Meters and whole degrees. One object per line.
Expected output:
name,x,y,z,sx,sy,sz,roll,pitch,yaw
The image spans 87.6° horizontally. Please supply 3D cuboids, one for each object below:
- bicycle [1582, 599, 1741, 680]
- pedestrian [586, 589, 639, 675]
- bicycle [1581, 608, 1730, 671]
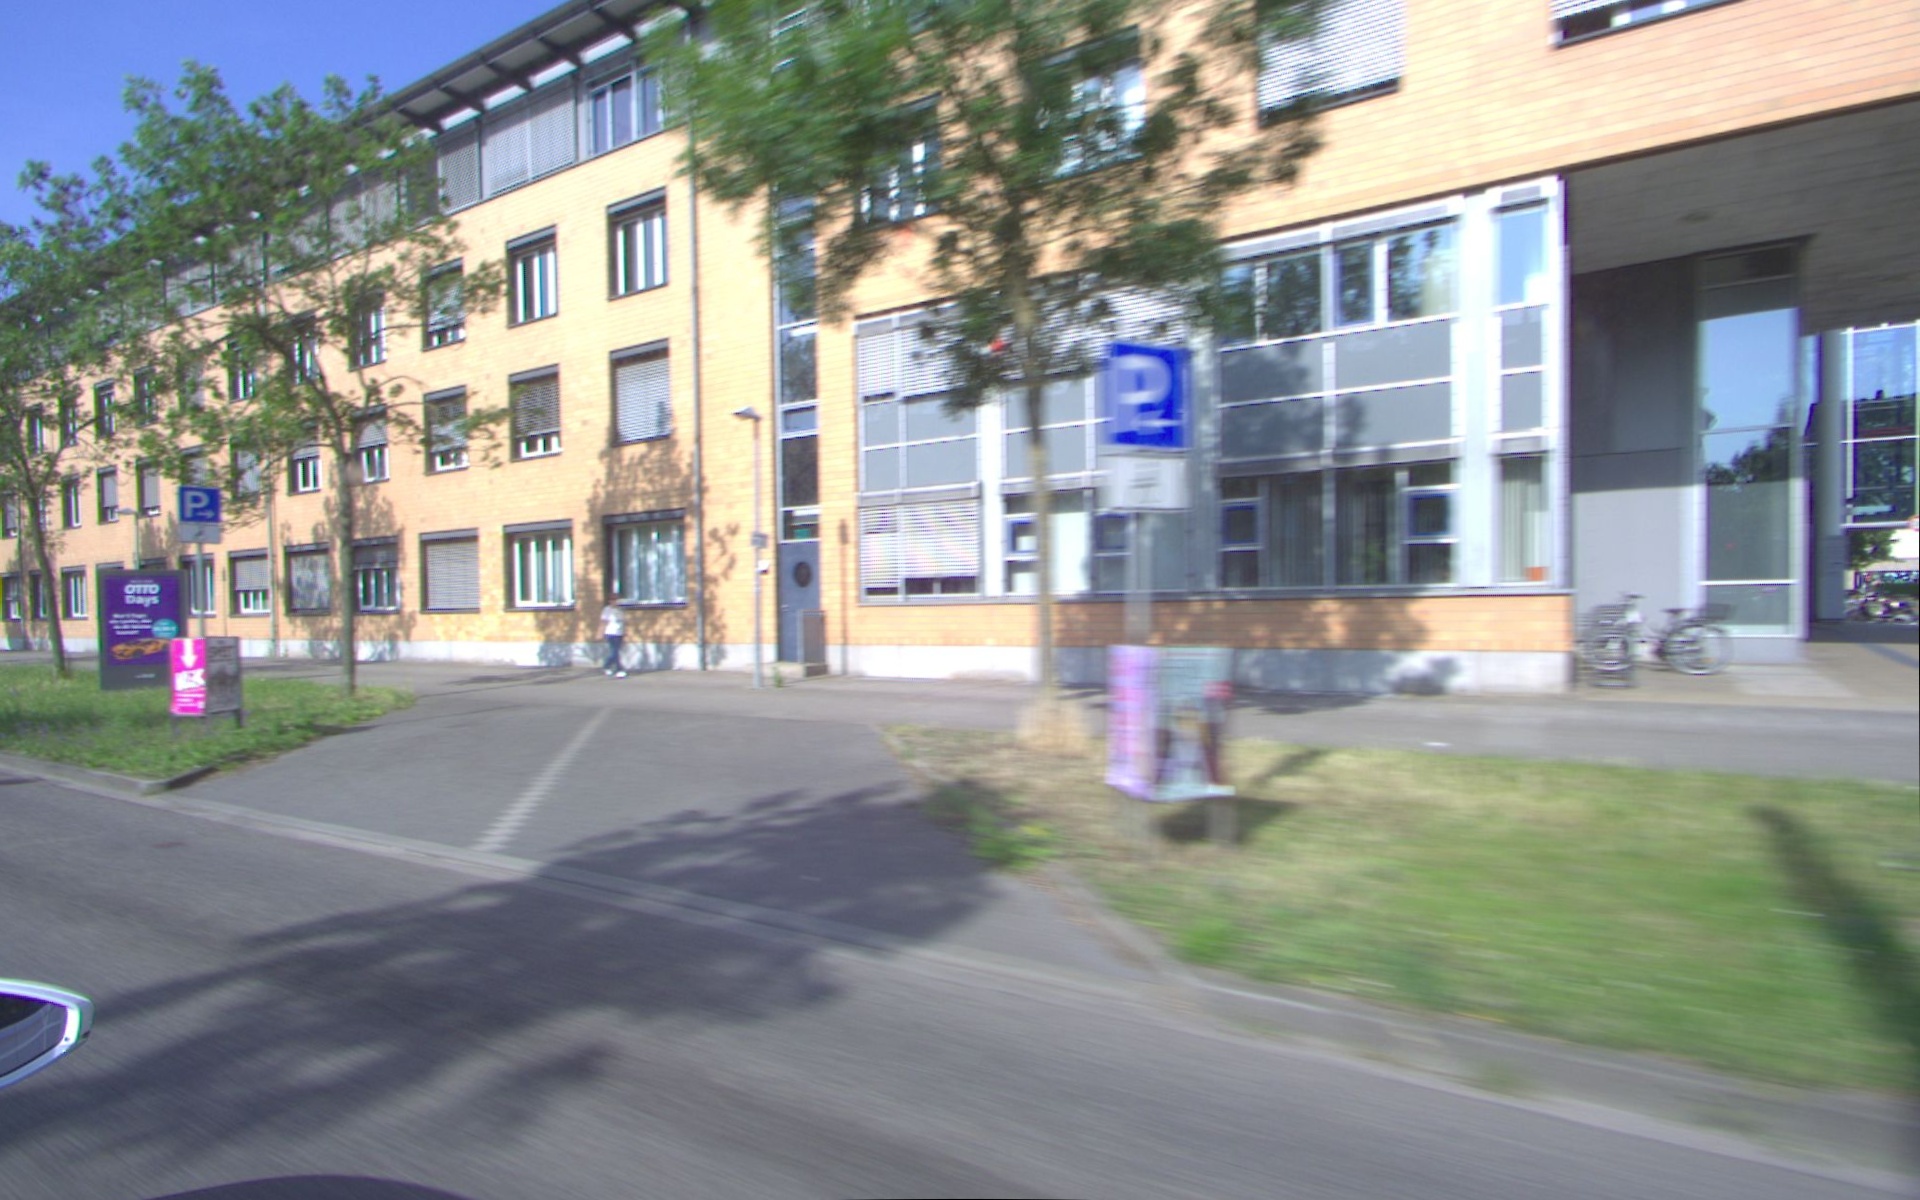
bicycle,9.904,0.549,14.222,1.811,1.056,0.649,-1,3,33
pedestrian,-6.988,0.644,20.139,0.762,1.678,0.694,-1,-1,32
bicycle,10.416,0.594,15.076,1.811,0.901,0.526,-1,0,33
